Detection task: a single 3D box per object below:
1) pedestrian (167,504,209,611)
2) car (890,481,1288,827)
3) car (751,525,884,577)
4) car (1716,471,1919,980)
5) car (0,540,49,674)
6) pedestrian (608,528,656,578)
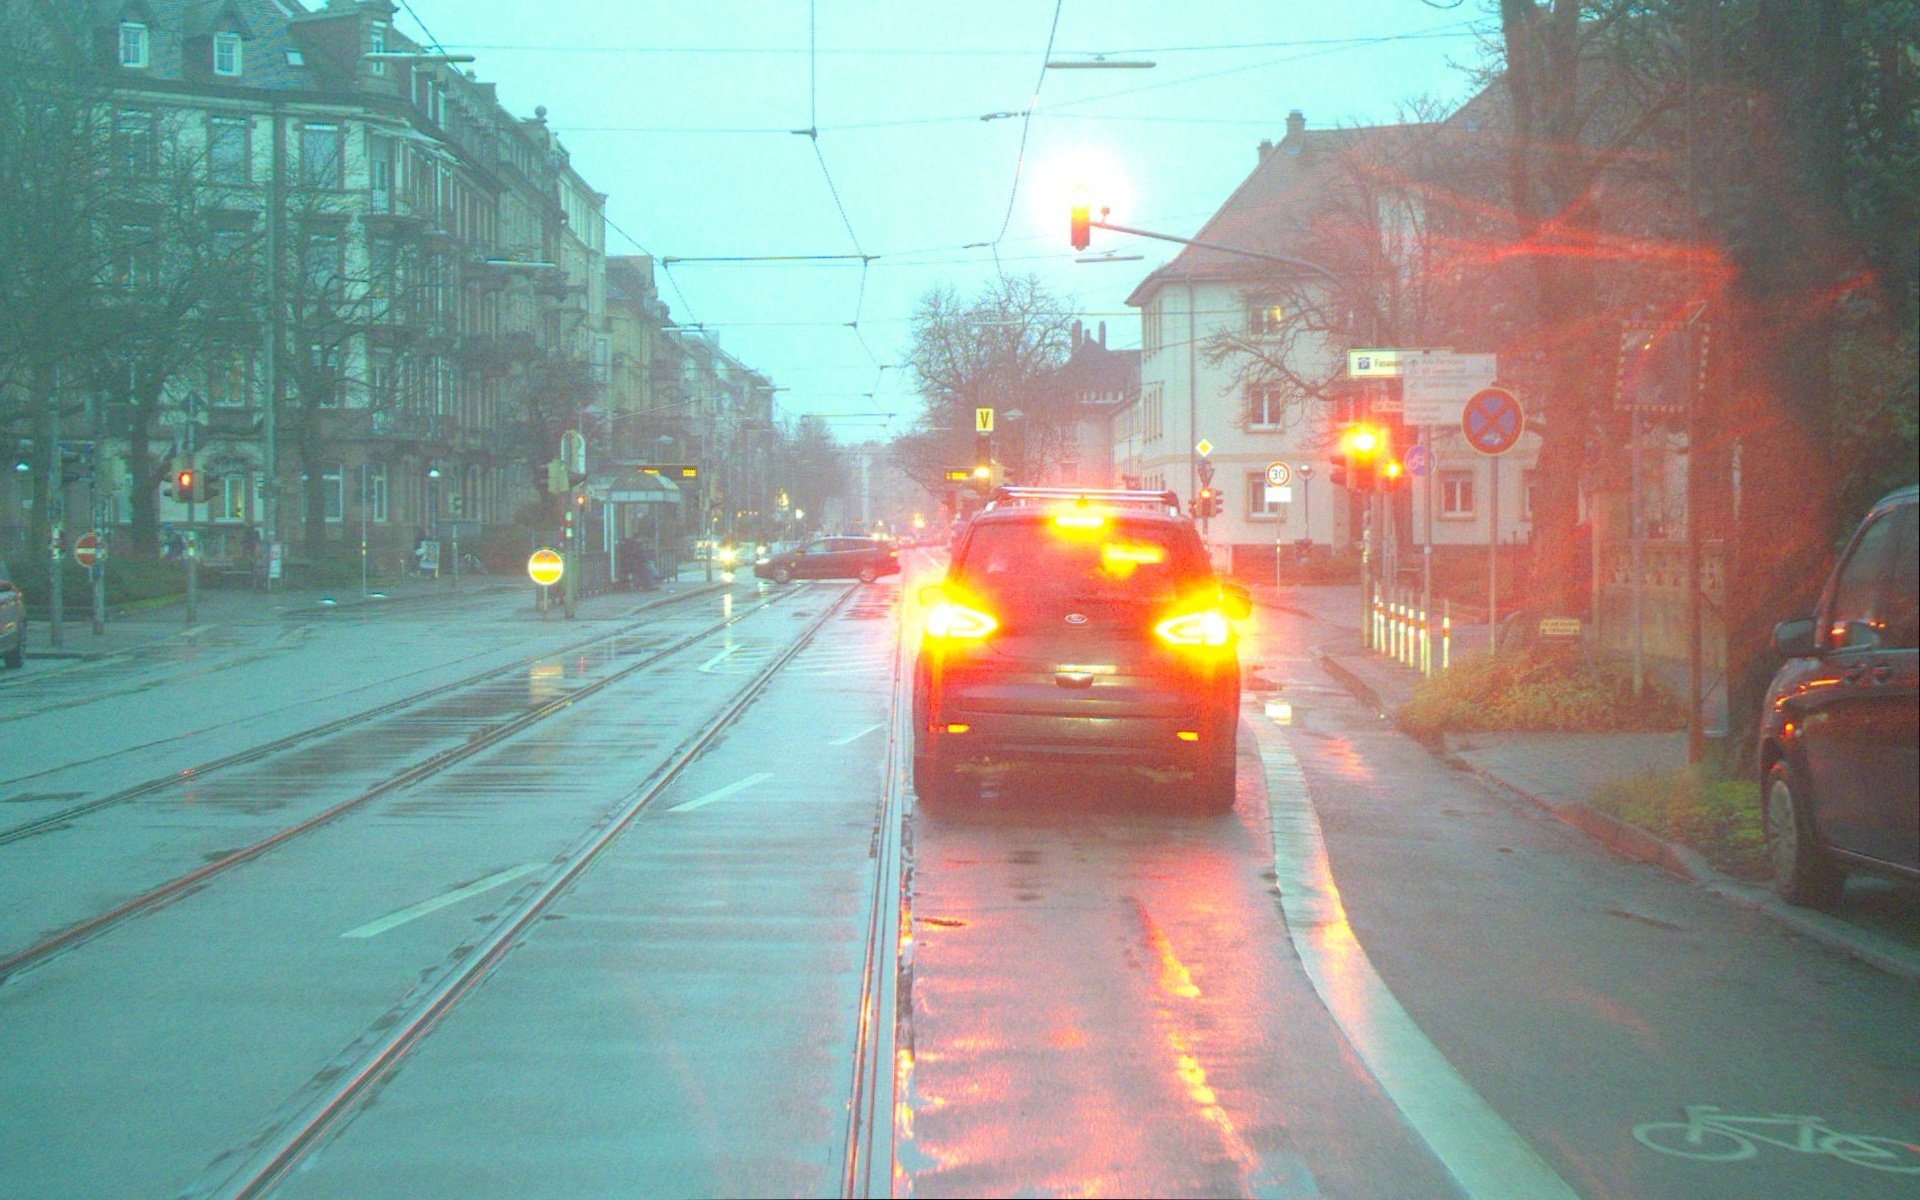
[{"bbox_3d":[-14.549,-0.808,64.779,0.704,2.007,0.661,0,1,-20],"label":"pedestrian"},{"bbox_3d":[0.767,0.245,21.031,2.103,1.810,4.660,2,1,2],"label":"car"},{"bbox_3d":[-4.482,-1.540,107.963,4.004,1.589,1.709,0,1,-8],"label":"car"},{"bbox_3d":[4.529,0.435,13.349,2.030,1.869,4.964,-1,1,-1],"label":"car"},{"bbox_3d":[-12.652,0.032,42.383,2.037,1.546,4.033,4,1,-5],"label":"car"},{"bbox_3d":[-7.863,-1.123,82.368,1.047,1.196,0.885,1,0,1],"label":"pedestrian"}]
